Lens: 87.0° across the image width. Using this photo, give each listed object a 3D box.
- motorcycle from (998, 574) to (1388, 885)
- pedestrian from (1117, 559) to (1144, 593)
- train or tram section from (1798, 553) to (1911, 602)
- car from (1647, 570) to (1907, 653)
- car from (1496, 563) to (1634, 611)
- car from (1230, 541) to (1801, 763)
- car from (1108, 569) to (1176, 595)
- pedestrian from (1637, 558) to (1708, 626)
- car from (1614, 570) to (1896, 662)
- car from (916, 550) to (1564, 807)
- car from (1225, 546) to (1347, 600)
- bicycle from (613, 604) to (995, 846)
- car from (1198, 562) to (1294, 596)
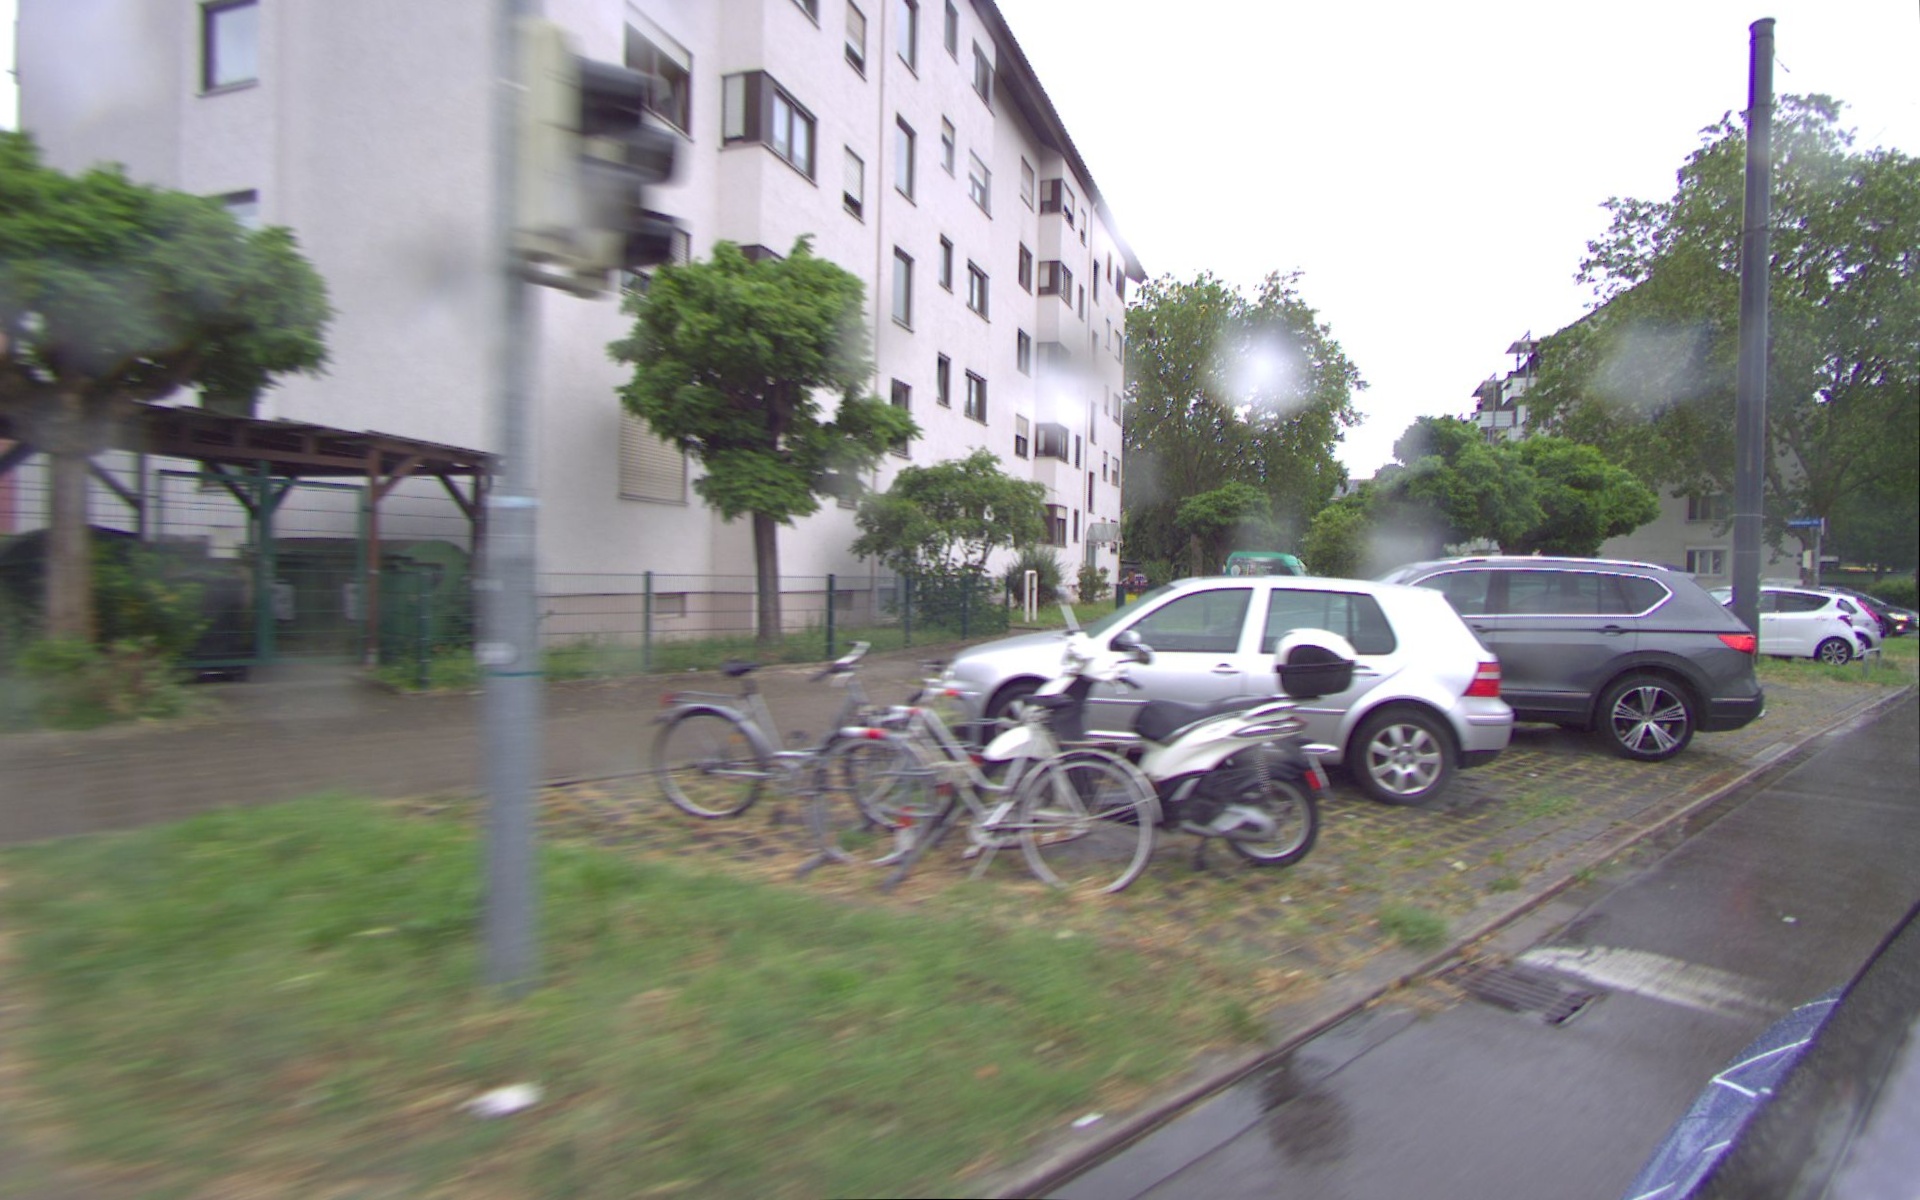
[{"bbox_3d":[1.140,0.578,5.150,1.753,1.353,0.686,3,2,14],"label":"motorcycle"},{"bbox_3d":[9.026,-1.263,53.599,0.709,1.790,1.179,0,2,-44],"label":"pedestrian"},{"bbox_3d":[65.496,-1.705,74.299,2.707,3.380,6.398,2,2,3],"label":"train or tram section"},{"bbox_3d":[17.725,0.197,22.177,3.940,1.526,1.778,2,4,14],"label":"car"},{"bbox_3d":[23.857,-0.569,40.051,1.838,1.701,4.304,-1,3,-39],"label":"car"},{"bbox_3d":[4.798,0.350,9.499,4.290,1.671,1.849,2,2,17],"label":"car"},{"bbox_3d":[11.163,-1.135,62.296,1.709,1.524,4.002,0,2,-39],"label":"car"},{"bbox_3d":[19.772,-0.227,28.099,1.405,1.836,1.104,0,2,-31],"label":"pedestrian"},{"bbox_3d":[15.541,0.265,20.001,3.936,1.526,1.702,2,4,10],"label":"car"},{"bbox_3d":[1.870,0.428,7.507,4.064,1.440,1.732,3,2,14],"label":"car"},{"bbox_3d":[17.748,-1.529,55.453,2.148,2.813,6.135,0,2,-39],"label":"car"},{"bbox_3d":[-0.797,0.632,5.455,1.921,1.115,0.629,2,2,4],"label":"bicycle"},{"bbox_3d":[14.301,-1.083,50.832,1.903,1.524,4.304,-1,3,-39],"label":"car"}]
